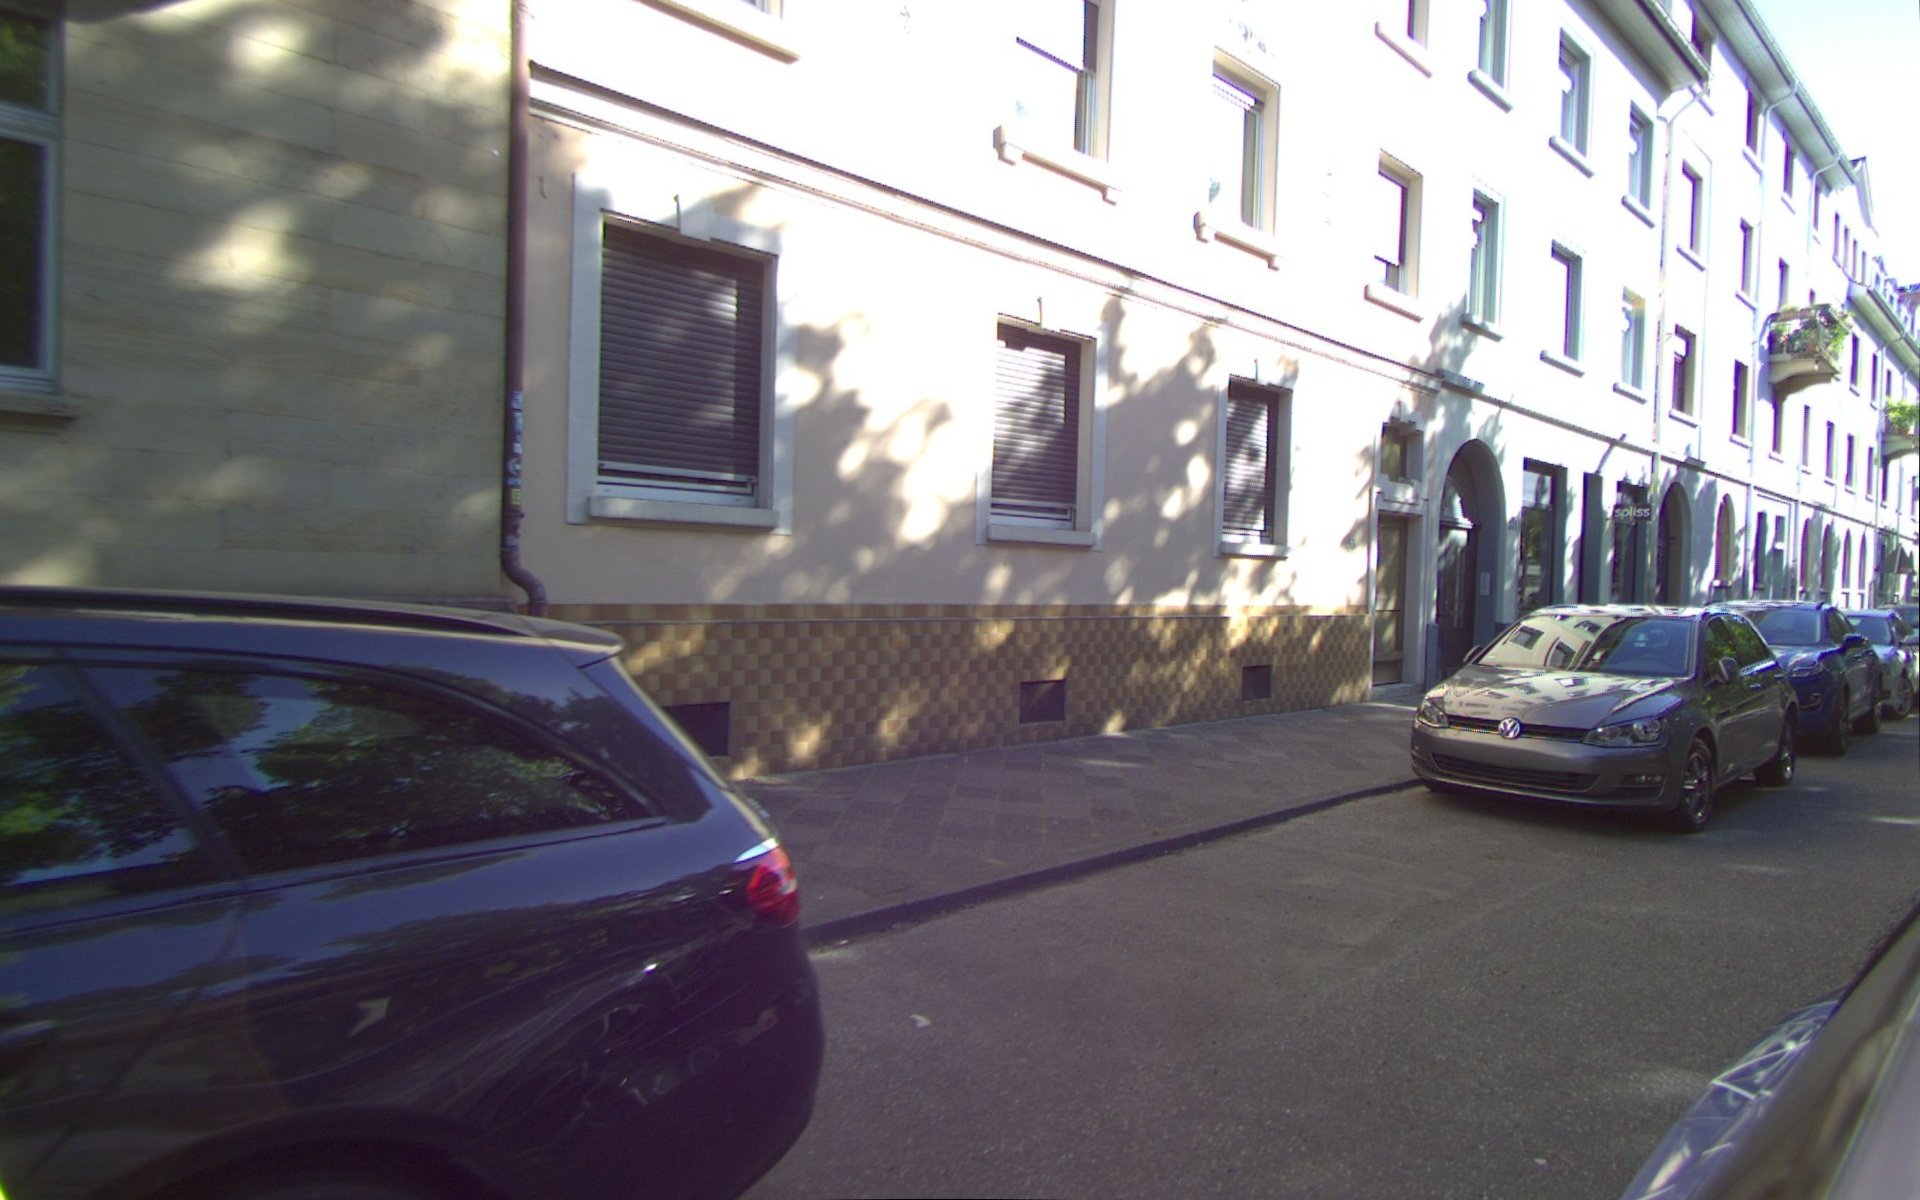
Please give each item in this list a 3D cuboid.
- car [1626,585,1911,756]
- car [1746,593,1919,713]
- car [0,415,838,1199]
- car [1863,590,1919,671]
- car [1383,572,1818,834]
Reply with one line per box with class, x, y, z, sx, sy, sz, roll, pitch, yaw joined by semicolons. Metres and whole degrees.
car;9.140;0.643;11.328;4.111;1.571;1.770;-1;-1;-41
car;12.798;0.639;14.370;4.215;1.449;1.773;-1;0;-40
car;-2.440;0.557;1.237;4.243;1.583;1.809;0;2;-39
car;20.168;0.588;20.966;3.969;1.570;1.584;0;0;-39
car;4.996;0.572;7.684;3.934;1.486;1.695;-1;0;-40
